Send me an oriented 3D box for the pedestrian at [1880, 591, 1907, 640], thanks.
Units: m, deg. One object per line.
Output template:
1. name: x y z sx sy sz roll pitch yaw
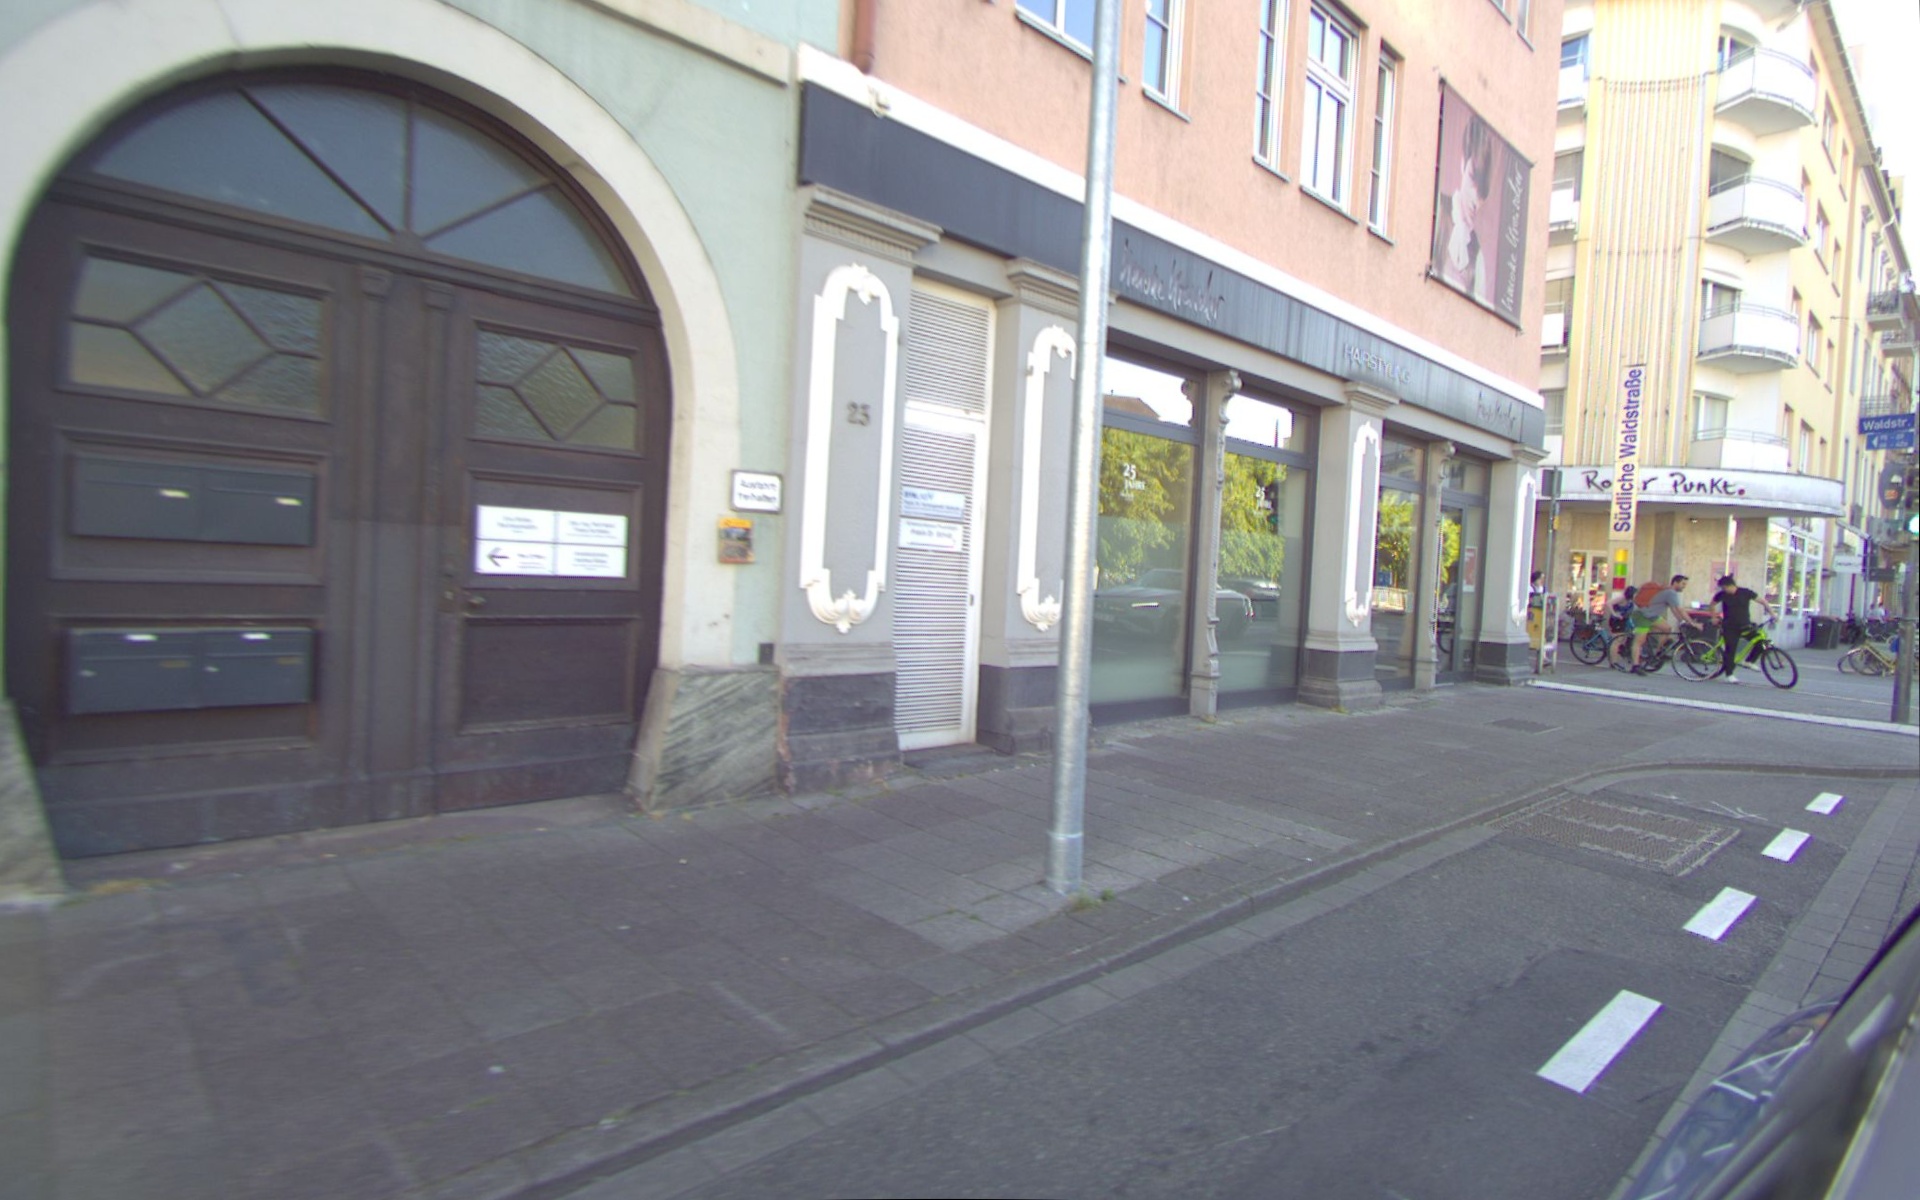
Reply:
1. pedestrian: 38.077 0.609 41.284 0.693 1.929 0.892 5 2 44

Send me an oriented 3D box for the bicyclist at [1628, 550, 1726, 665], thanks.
1. bicyclist: 11.707 0.102 16.532 1.137 1.782 0.742 5 2 42

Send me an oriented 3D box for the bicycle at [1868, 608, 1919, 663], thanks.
1. bicycle: 22.325 0.858 23.269 0.671 1.195 2.048 1 3 -41

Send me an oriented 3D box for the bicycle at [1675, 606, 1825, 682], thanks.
1. bicycle: 12.819 0.686 16.507 0.548 1.032 1.921 2 3 -15

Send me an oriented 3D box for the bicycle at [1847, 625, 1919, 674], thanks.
1. bicycle: 18.590 0.988 19.770 1.842 0.841 0.730 6 3 42

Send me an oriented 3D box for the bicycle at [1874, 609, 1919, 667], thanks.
1. bicycle: 20.801 0.860 21.463 0.742 1.171 1.961 1 3 -41

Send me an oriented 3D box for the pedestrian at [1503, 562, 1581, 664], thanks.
1. pedestrian: 10.003 0.201 17.419 0.751 1.679 0.817 2 1 -6

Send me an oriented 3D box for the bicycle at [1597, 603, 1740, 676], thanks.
1. bicycle: 11.609 0.621 16.616 1.817 1.006 0.556 5 3 44

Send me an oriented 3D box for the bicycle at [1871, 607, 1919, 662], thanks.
1. bicycle: 21.658 0.817 22.441 0.703 1.164 2.026 1 4 -41

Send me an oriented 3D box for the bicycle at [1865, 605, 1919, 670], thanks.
1. bicycle: 19.910 0.809 20.593 2.137 1.259 0.699 6 3 43

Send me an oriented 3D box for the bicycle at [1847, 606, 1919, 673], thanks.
1. bicycle: 19.003 0.802 20.150 1.941 1.226 0.919 5 3 42

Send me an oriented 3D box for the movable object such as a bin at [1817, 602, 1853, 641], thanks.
1. movable object such as a bin: 27.993 0.693 32.375 0.944 1.174 0.702 1 3 -42

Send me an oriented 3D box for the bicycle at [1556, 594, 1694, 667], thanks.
1. bicycle: 11.729 0.514 17.932 0.718 1.110 1.925 2 2 -21

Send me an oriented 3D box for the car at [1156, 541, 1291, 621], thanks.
1. car: 8.821 -0.706 34.338 2.026 2.498 4.708 0 3 -21

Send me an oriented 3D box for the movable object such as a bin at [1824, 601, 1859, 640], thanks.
1. movable object such as a bin: 29.250 0.672 33.578 0.944 1.254 0.702 1 2 -42

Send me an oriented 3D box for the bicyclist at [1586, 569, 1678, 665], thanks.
1. bicyclist: 11.779 0.286 17.760 0.711 1.602 1.033 2 2 -21

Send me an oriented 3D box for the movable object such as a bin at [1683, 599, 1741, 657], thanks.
1. movable object such as a bin: 15.459 0.565 20.800 0.610 1.126 0.809 1 3 -44

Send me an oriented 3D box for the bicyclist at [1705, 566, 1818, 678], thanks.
1. bicyclist: 12.857 0.331 16.271 0.711 1.705 1.135 2 2 -15

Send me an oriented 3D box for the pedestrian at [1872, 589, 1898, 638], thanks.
1. pedestrian: 38.405 0.567 42.015 0.671 1.977 0.605 5 2 44
